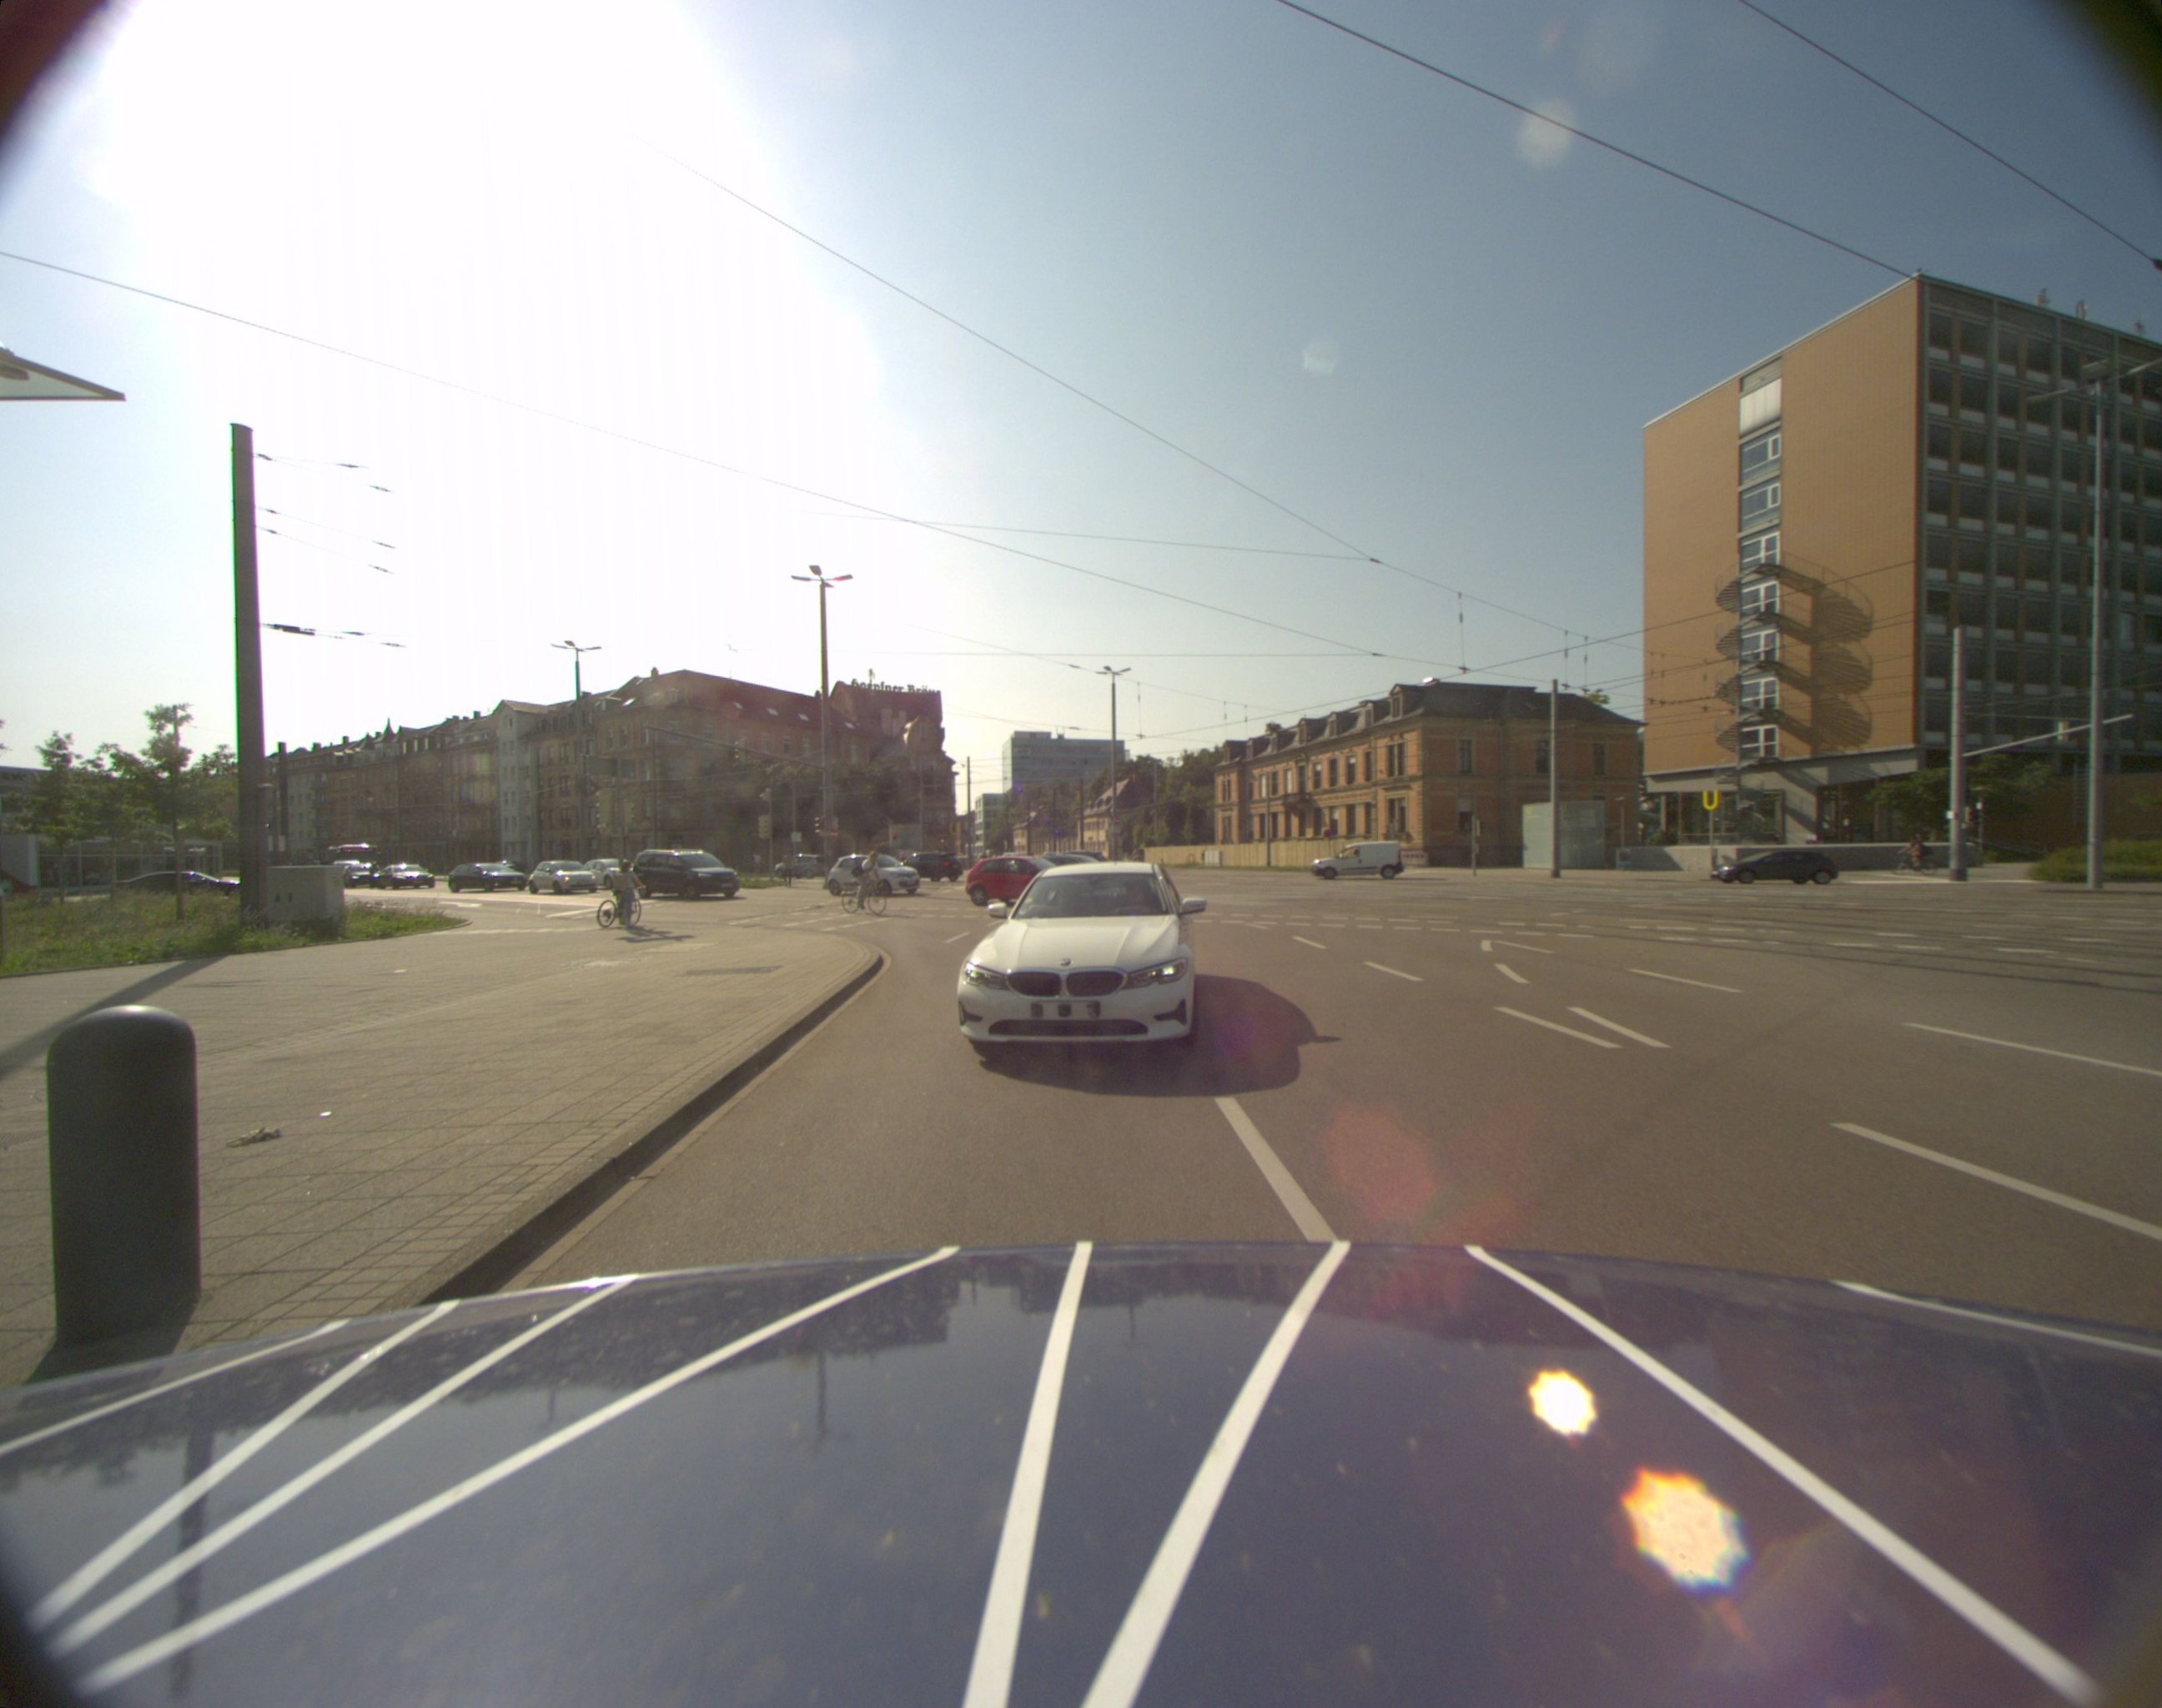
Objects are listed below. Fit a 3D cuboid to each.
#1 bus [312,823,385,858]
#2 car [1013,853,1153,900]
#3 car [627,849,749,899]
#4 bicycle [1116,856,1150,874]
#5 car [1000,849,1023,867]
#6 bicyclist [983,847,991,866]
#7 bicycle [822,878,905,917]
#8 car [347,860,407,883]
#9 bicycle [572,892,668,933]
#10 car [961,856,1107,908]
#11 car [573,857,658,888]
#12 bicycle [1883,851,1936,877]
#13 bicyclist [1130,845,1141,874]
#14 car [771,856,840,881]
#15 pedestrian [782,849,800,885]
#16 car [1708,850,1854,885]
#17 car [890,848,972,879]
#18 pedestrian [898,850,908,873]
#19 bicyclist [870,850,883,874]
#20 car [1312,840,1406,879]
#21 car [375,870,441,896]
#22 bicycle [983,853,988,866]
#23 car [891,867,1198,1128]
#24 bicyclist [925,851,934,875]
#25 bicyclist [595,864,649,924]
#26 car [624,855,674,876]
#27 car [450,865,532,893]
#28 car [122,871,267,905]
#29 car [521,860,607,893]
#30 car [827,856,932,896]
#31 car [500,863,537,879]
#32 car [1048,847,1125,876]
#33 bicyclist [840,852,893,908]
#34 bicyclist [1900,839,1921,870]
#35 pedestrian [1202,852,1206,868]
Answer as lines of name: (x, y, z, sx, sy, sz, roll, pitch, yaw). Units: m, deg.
bus: (-67.852, -1.199, 70.262, 11.464, 2.967, 2.904, 0, 1, 36)
car: (0.047, 0.729, 25.476, 4.338, 1.443, 1.806, -1, 1, 29)
car: (-15.381, 0.753, 29.703, 4.761, 1.817, 1.806, -1, 1, 28)
bicycle: (3.344, 0.720, 48.683, 2.184, 1.089, 0.529, -1, 1, 6)
car: (-6.941, 0.384, 75.266, 1.928, 1.627, 3.996, -1, 1, -10)
bicyclist: (-8.222, 0.197, 66.267, 0.663, 1.627, 0.917, -1, 1, -8)
bicycle: (-6.072, 1.213, 21.210, 2.194, 0.983, 0.529, -2, 1, 14)
car: (-45.782, 1.110, 49.377, 3.621, 1.433, 1.806, -1, 1, 29)
bicycle: (-11.123, 1.392, 18.419, 0.566, 0.888, 2.079, -1, -2, 21)
car: (-1.420, 0.798, 22.751, 3.989, 1.407, 1.806, -1, 1, 29)
car: (-22.920, 0.888, 37.396, 3.989, 1.407, 1.806, -1, 1, 29)
bicycle: (39.311, 0.474, 36.077, 1.769, 1.187, 0.402, -1, 1, 15)
bicyclist: (3.505, 0.339, 48.650, 0.709, 1.851, 0.782, -1, 1, 5)
car: (-18.456, 0.977, 50.826, 4.279, 1.614, 1.818, -1, 0, 25)
pedestrian: (-13.775, 0.614, 36.103, 0.596, 1.720, 0.526, -1, 1, 24)
car: (29.976, 0.588, 32.697, 4.280, 1.456, 1.677, -1, -1, 18)
car: (-8.513, 0.554, 43.182, 4.280, 1.696, 1.771, -1, -1, 20)
pedestrian: (-12.902, 0.520, 55.099, 0.522, 1.631, 0.506, -1, 1, 26)
bicyclist: (-14.635, 0.582, 54.388, 0.646, 1.707, 0.588, -1, 1, 24)
car: (13.785, 0.304, 37.899, 4.280, 1.875, 1.798, -1, -1, 19)
car: (-39.753, 1.693, 44.883, 3.621, 1.433, 1.806, -1, 1, 29)
bicycle: (-8.356, 0.494, 66.294, 0.401, 1.084, 1.927, -1, 1, -7)
car: (0.118, 0.929, 6.954, 1.812, 1.419, 4.777, -3, 0, 9)
bicyclist: (-10.718, 0.644, 53.680, 0.587, 1.720, 0.594, -1, 1, -14)
bicyclist: (-11.120, 0.959, 18.415, 0.729, 1.418, 0.821, -1, 0, 21)
car: (-31.411, 0.821, 55.253, 3.770, 1.439, 1.680, -1, 0, 34)
car: (-29.588, 1.225, 38.100, 3.622, 1.275, 1.806, -1, 1, 27)
car: (-42.185, 1.561, 36.293, 1.994, 1.362, 4.407, 0, 1, 41)
car: (-23.600, 1.000, 34.683, 3.621, 1.433, 1.806, -1, 1, 29)
car: (-7.745, 0.814, 29.238, 3.547, 1.427, 1.806, -1, 1, 26)
car: (-53.141, 1.559, 71.748, 3.829, 1.452, 1.744, 0, 1, 37)
car: (0.336, 0.422, 42.850, 3.967, 1.572, 1.746, -1, 0, 18)
bicyclist: (-5.975, 0.717, 21.187, 0.970, 1.467, 1.088, -1, 3, 13)
bicyclist: (39.319, 0.025, 36.034, 0.548, 1.471, 0.397, -1, 1, 15)
pedestrian: (11.809, 0.577, 72.720, 0.237, 1.522, 0.326, -1, 1, -14)
